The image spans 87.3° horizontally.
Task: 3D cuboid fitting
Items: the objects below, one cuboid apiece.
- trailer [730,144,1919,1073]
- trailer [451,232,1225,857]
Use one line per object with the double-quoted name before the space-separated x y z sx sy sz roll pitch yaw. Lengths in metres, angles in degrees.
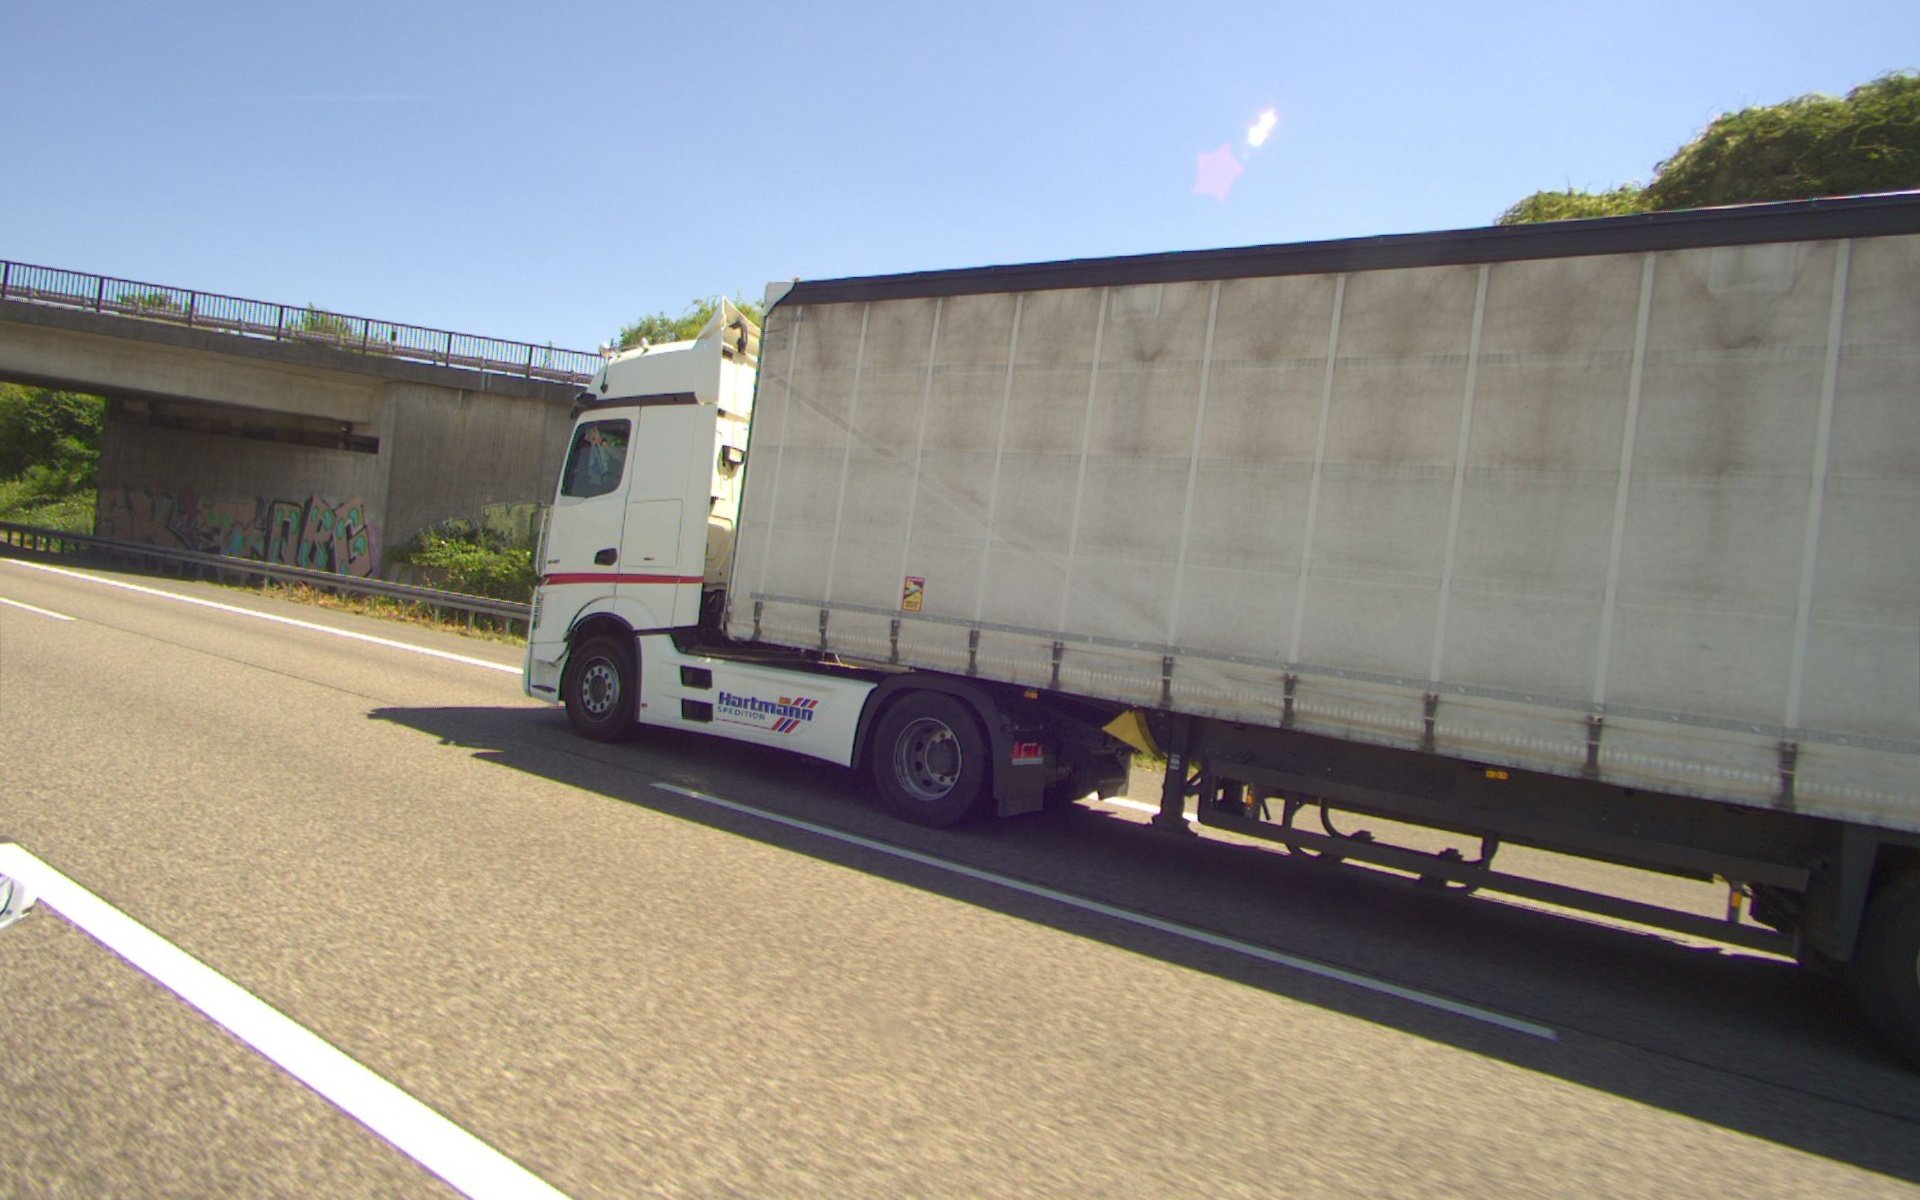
"trailer" 4.561 0.059 5.943 12.969 4.152 2.732 6 0 31
"trailer" -1.384 -0.569 9.555 6.676 4.152 2.717 6 0 31
